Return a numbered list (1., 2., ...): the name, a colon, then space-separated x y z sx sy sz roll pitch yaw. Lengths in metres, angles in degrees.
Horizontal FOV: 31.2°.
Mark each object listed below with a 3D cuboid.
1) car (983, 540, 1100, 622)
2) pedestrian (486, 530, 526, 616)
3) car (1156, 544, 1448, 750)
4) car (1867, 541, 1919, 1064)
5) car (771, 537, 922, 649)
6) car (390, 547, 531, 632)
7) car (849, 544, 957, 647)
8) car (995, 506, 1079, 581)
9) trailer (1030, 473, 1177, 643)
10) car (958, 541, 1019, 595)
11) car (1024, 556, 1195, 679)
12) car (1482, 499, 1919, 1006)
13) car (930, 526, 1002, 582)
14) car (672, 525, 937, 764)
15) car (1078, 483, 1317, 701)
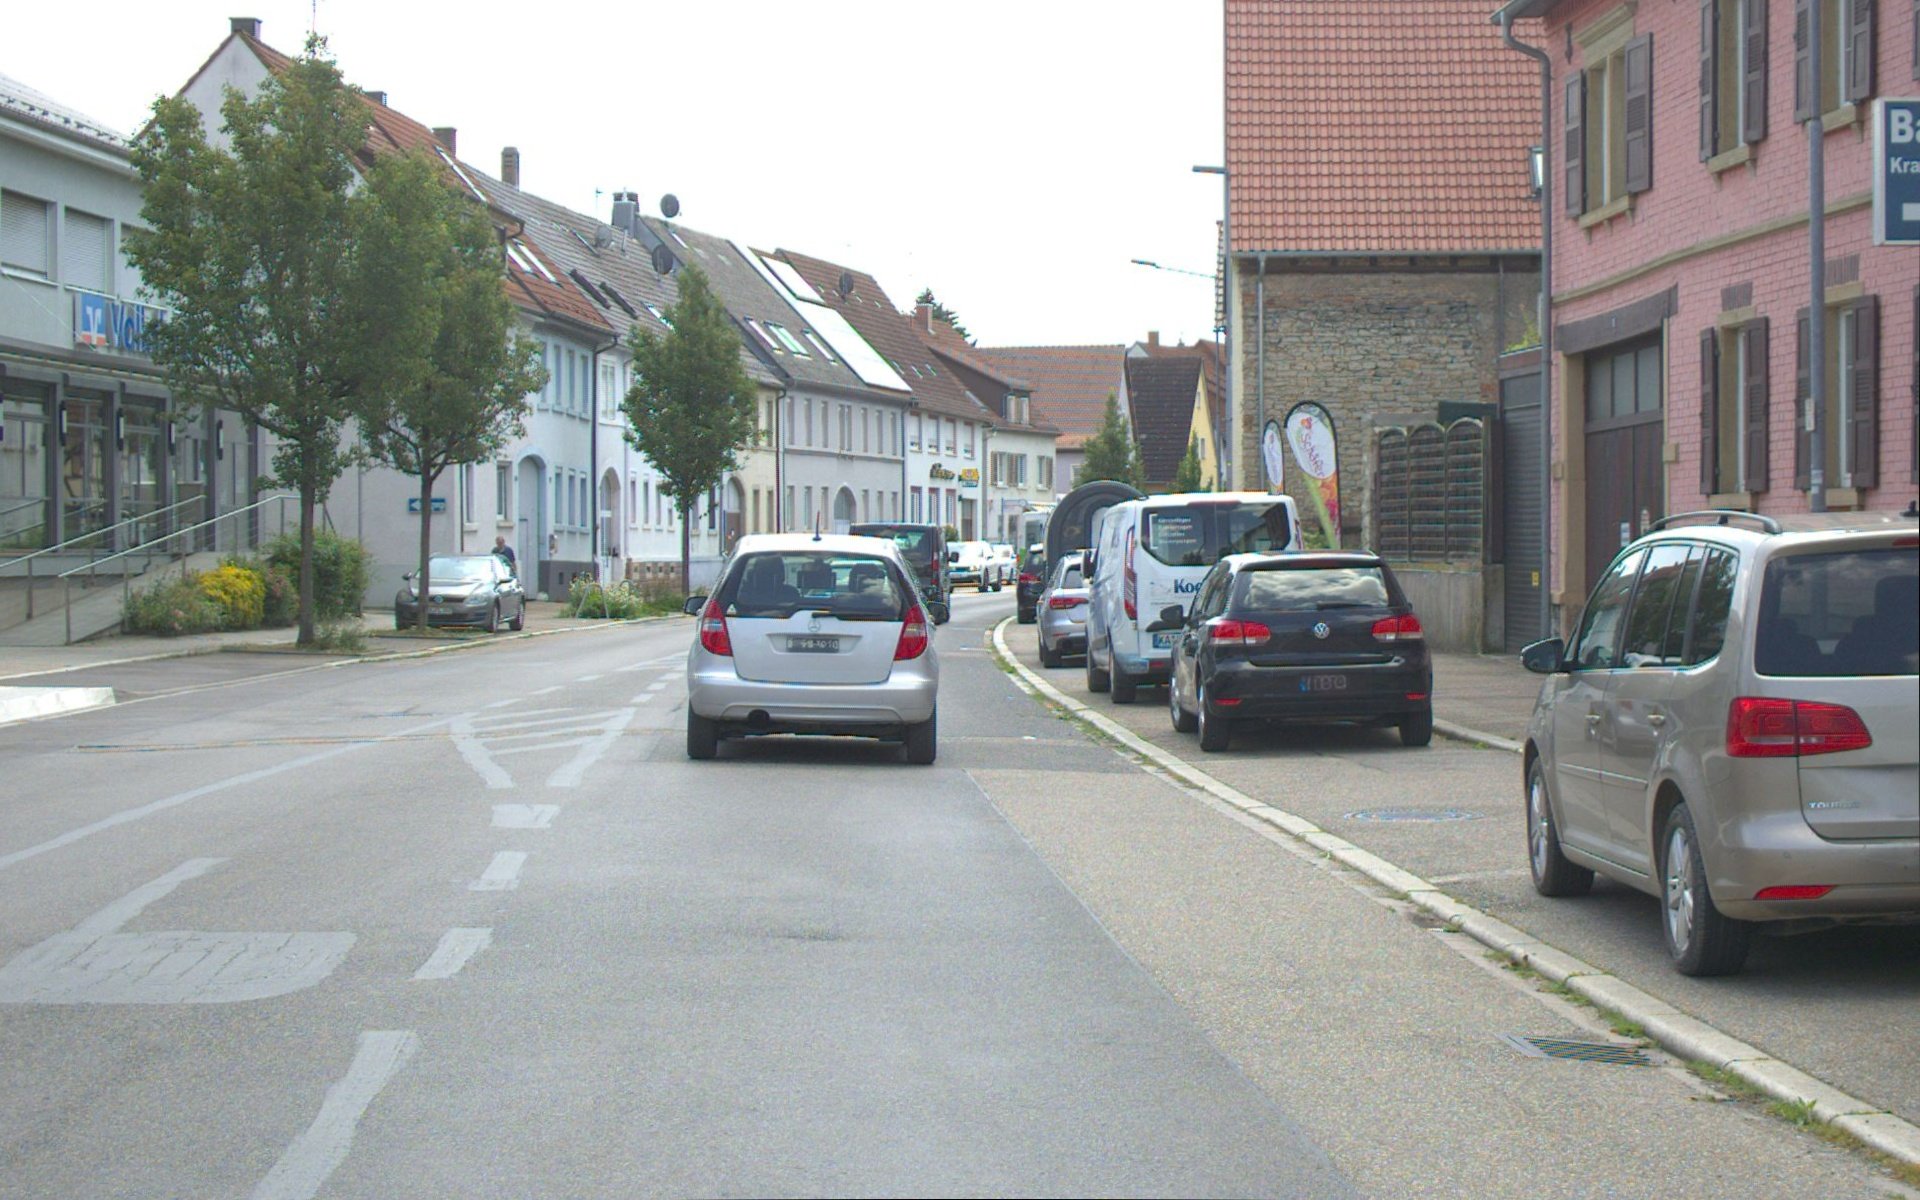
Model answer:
1. car: 1.653 -0.393 68.486 1.994 1.554 3.999 -1 1 6
2. pedestrian: -9.526 -0.564 72.145 0.739 1.795 0.642 0 0 0
3. car: 2.599 0.315 26.995 1.774 1.490 4.162 0 1 -1
4. car: 3.935 0.608 8.273 1.993 1.512 4.372 0 1 -5
5. car: -1.585 -0.098 47.883 1.945 1.402 4.000 3 0 -2
6. car: -8.987 -0.214 62.144 1.804 1.455 4.158 1 1 2
7. car: -1.090 -0.085 67.982 1.769 1.881 4.446 3 0 3
8. car: 2.383 -1.714 105.266 2.236 2.215 3.999 0 0 6
9. trailer: 2.032 -0.611 49.536 1.845 2.346 3.590 0 1 -2
10. car: 1.095 -1.194 131.250 1.994 2.007 3.999 0 0 5
11. car: 1.880 0.184 44.552 1.875 1.476 4.675 1 1 -1
12. car: 3.428 0.478 13.528 1.993 1.675 4.323 0 1 -1
13. car: 0.215 -1.463 110.348 1.994 1.744 3.999 0 0 4
14. car: -1.137 0.290 25.338 1.769 1.589 4.000 1 0 -2
15. car: 2.305 -0.105 34.609 1.892 1.975 4.931 -2 1 -1
